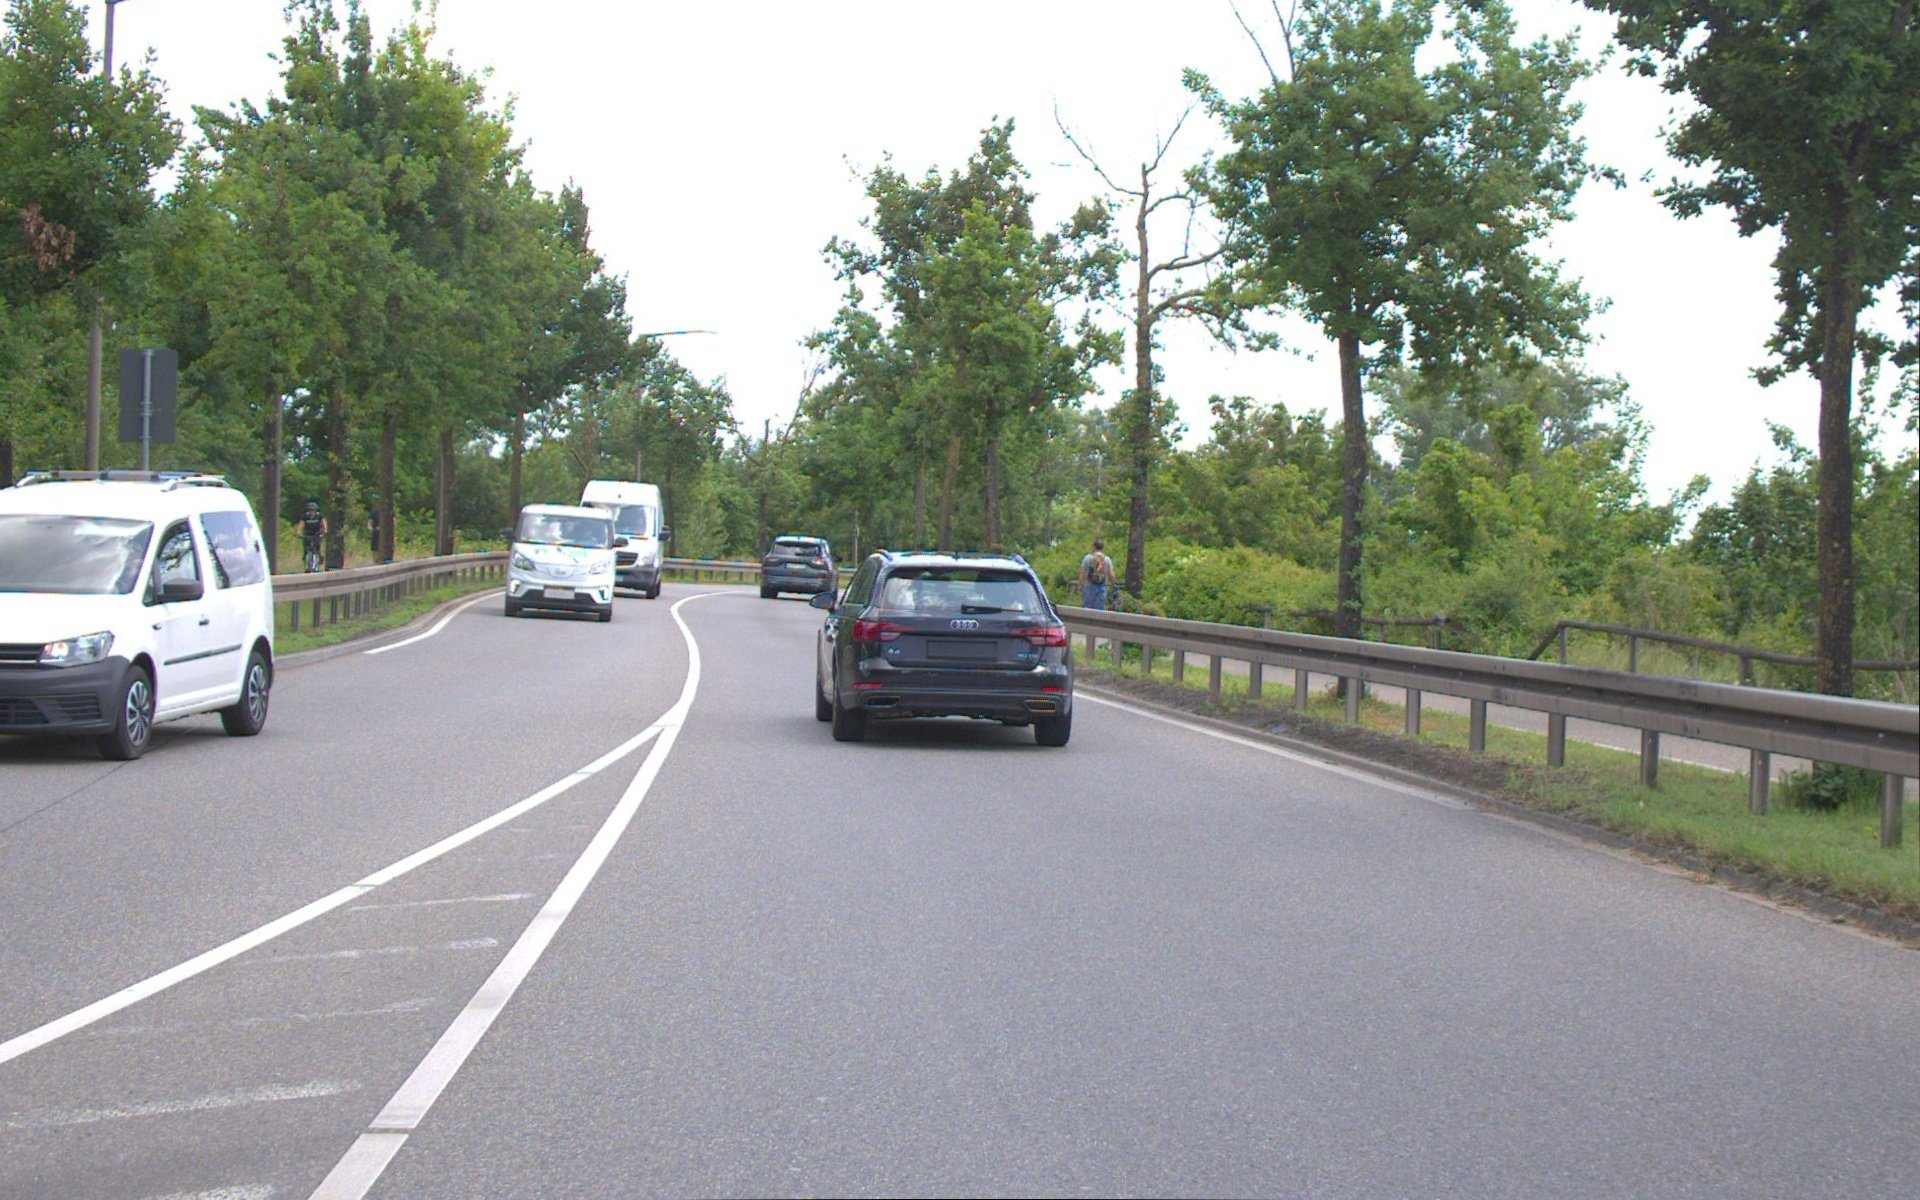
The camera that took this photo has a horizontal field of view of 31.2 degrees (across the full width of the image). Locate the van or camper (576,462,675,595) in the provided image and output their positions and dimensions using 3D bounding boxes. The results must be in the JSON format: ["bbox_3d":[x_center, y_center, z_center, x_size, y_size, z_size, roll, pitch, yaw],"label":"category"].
[{"bbox_3d":[-7.563,-1.573,78.155,1.993,2.741,5.386,4,-1,-5],"label":"van or camper"}]

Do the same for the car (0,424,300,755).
[{"bbox_3d":[-6.093,-0.142,23.476,1.994,2.007,4.558,2,1,3],"label":"car"}]

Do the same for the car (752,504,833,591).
[{"bbox_3d":[-4.394,-1.340,90.478,1.993,2.030,4.713,2,-2,-2],"label":"car"}]

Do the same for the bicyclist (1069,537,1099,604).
[{"bbox_3d":[2.184,-0.520,60.632,0.474,1.164,0.827,1,-1,-1],"label":"bicyclist"}]

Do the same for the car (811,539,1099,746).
[{"bbox_3d":[-0.133,0.293,26.931,1.993,1.386,4.576,3,0,-3],"label":"car"}]

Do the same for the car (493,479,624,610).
[{"bbox_3d":[-6.719,-0.890,57.832,1.993,2.007,4.456,4,-1,-6],"label":"car"}]

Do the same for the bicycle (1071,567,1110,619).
[{"bbox_3d":[2.298,-0.124,60.553,0.542,0.863,1.750,3,-1,-1],"label":"bicycle"}]
